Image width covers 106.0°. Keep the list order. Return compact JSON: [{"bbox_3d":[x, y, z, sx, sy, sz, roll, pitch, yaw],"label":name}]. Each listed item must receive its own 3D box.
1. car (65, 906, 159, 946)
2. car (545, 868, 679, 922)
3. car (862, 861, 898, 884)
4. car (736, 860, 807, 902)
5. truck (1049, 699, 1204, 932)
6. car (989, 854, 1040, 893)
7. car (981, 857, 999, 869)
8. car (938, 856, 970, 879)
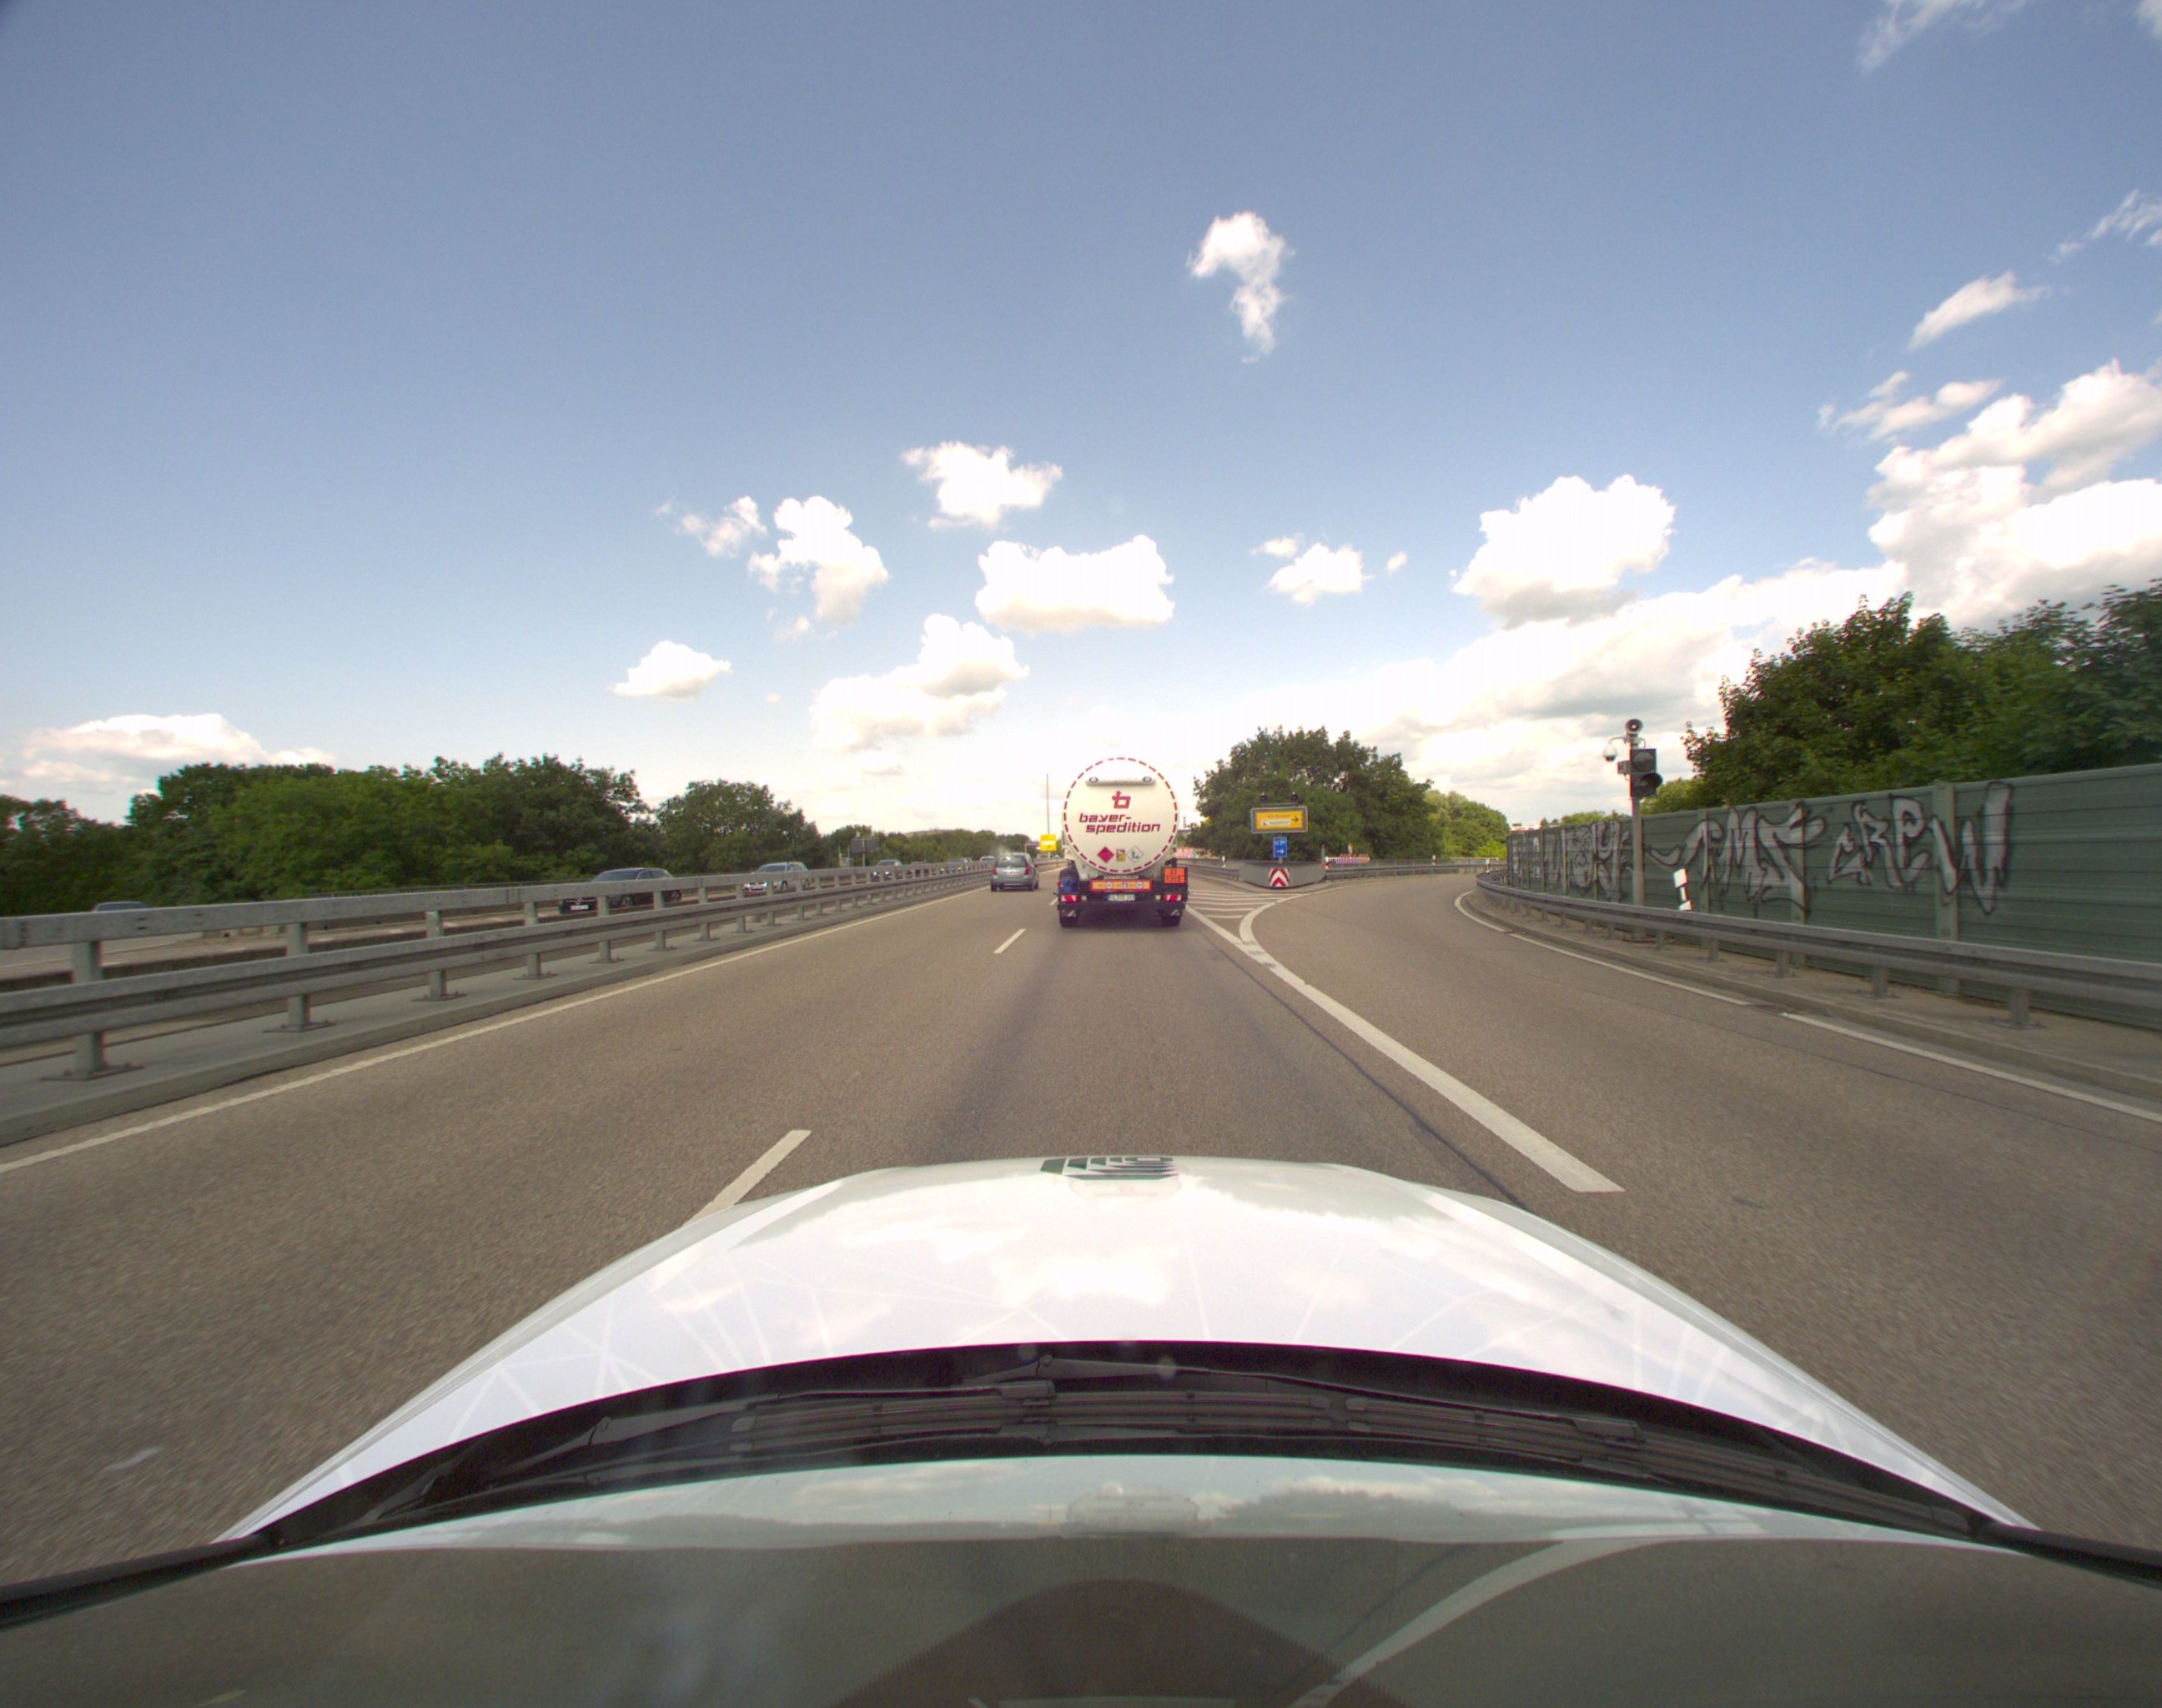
[{"bbox_3d":[-39.998,2.938,33.599,3.950,1.386,1.658,0,0,27],"label":"car"},{"bbox_3d":[-14.305,1.205,25.143,1.778,1.389,4.047,0,1,0],"label":"car"},{"bbox_3d":[-14.325,1.272,58.260,1.593,1.474,3.630,-3,0,0],"label":"car"},{"bbox_3d":[-14.070,1.174,37.264,1.577,1.711,4.410,0,1,0],"label":"car"},{"bbox_3d":[0.938,-0.711,19.251,2.885,4.368,8.031,0,0,1],"label":"truck"},{"bbox_3d":[-2.756,0.773,34.579,1.741,1.531,4.001,-1,0,1],"label":"car"},{"bbox_3d":[-12.376,1.209,111.108,1.885,1.640,4.511,0,0,0],"label":"car"},{"bbox_3d":[-9.066,0.928,58.517,1.670,1.572,4.060,0,0,0],"label":"car"}]
